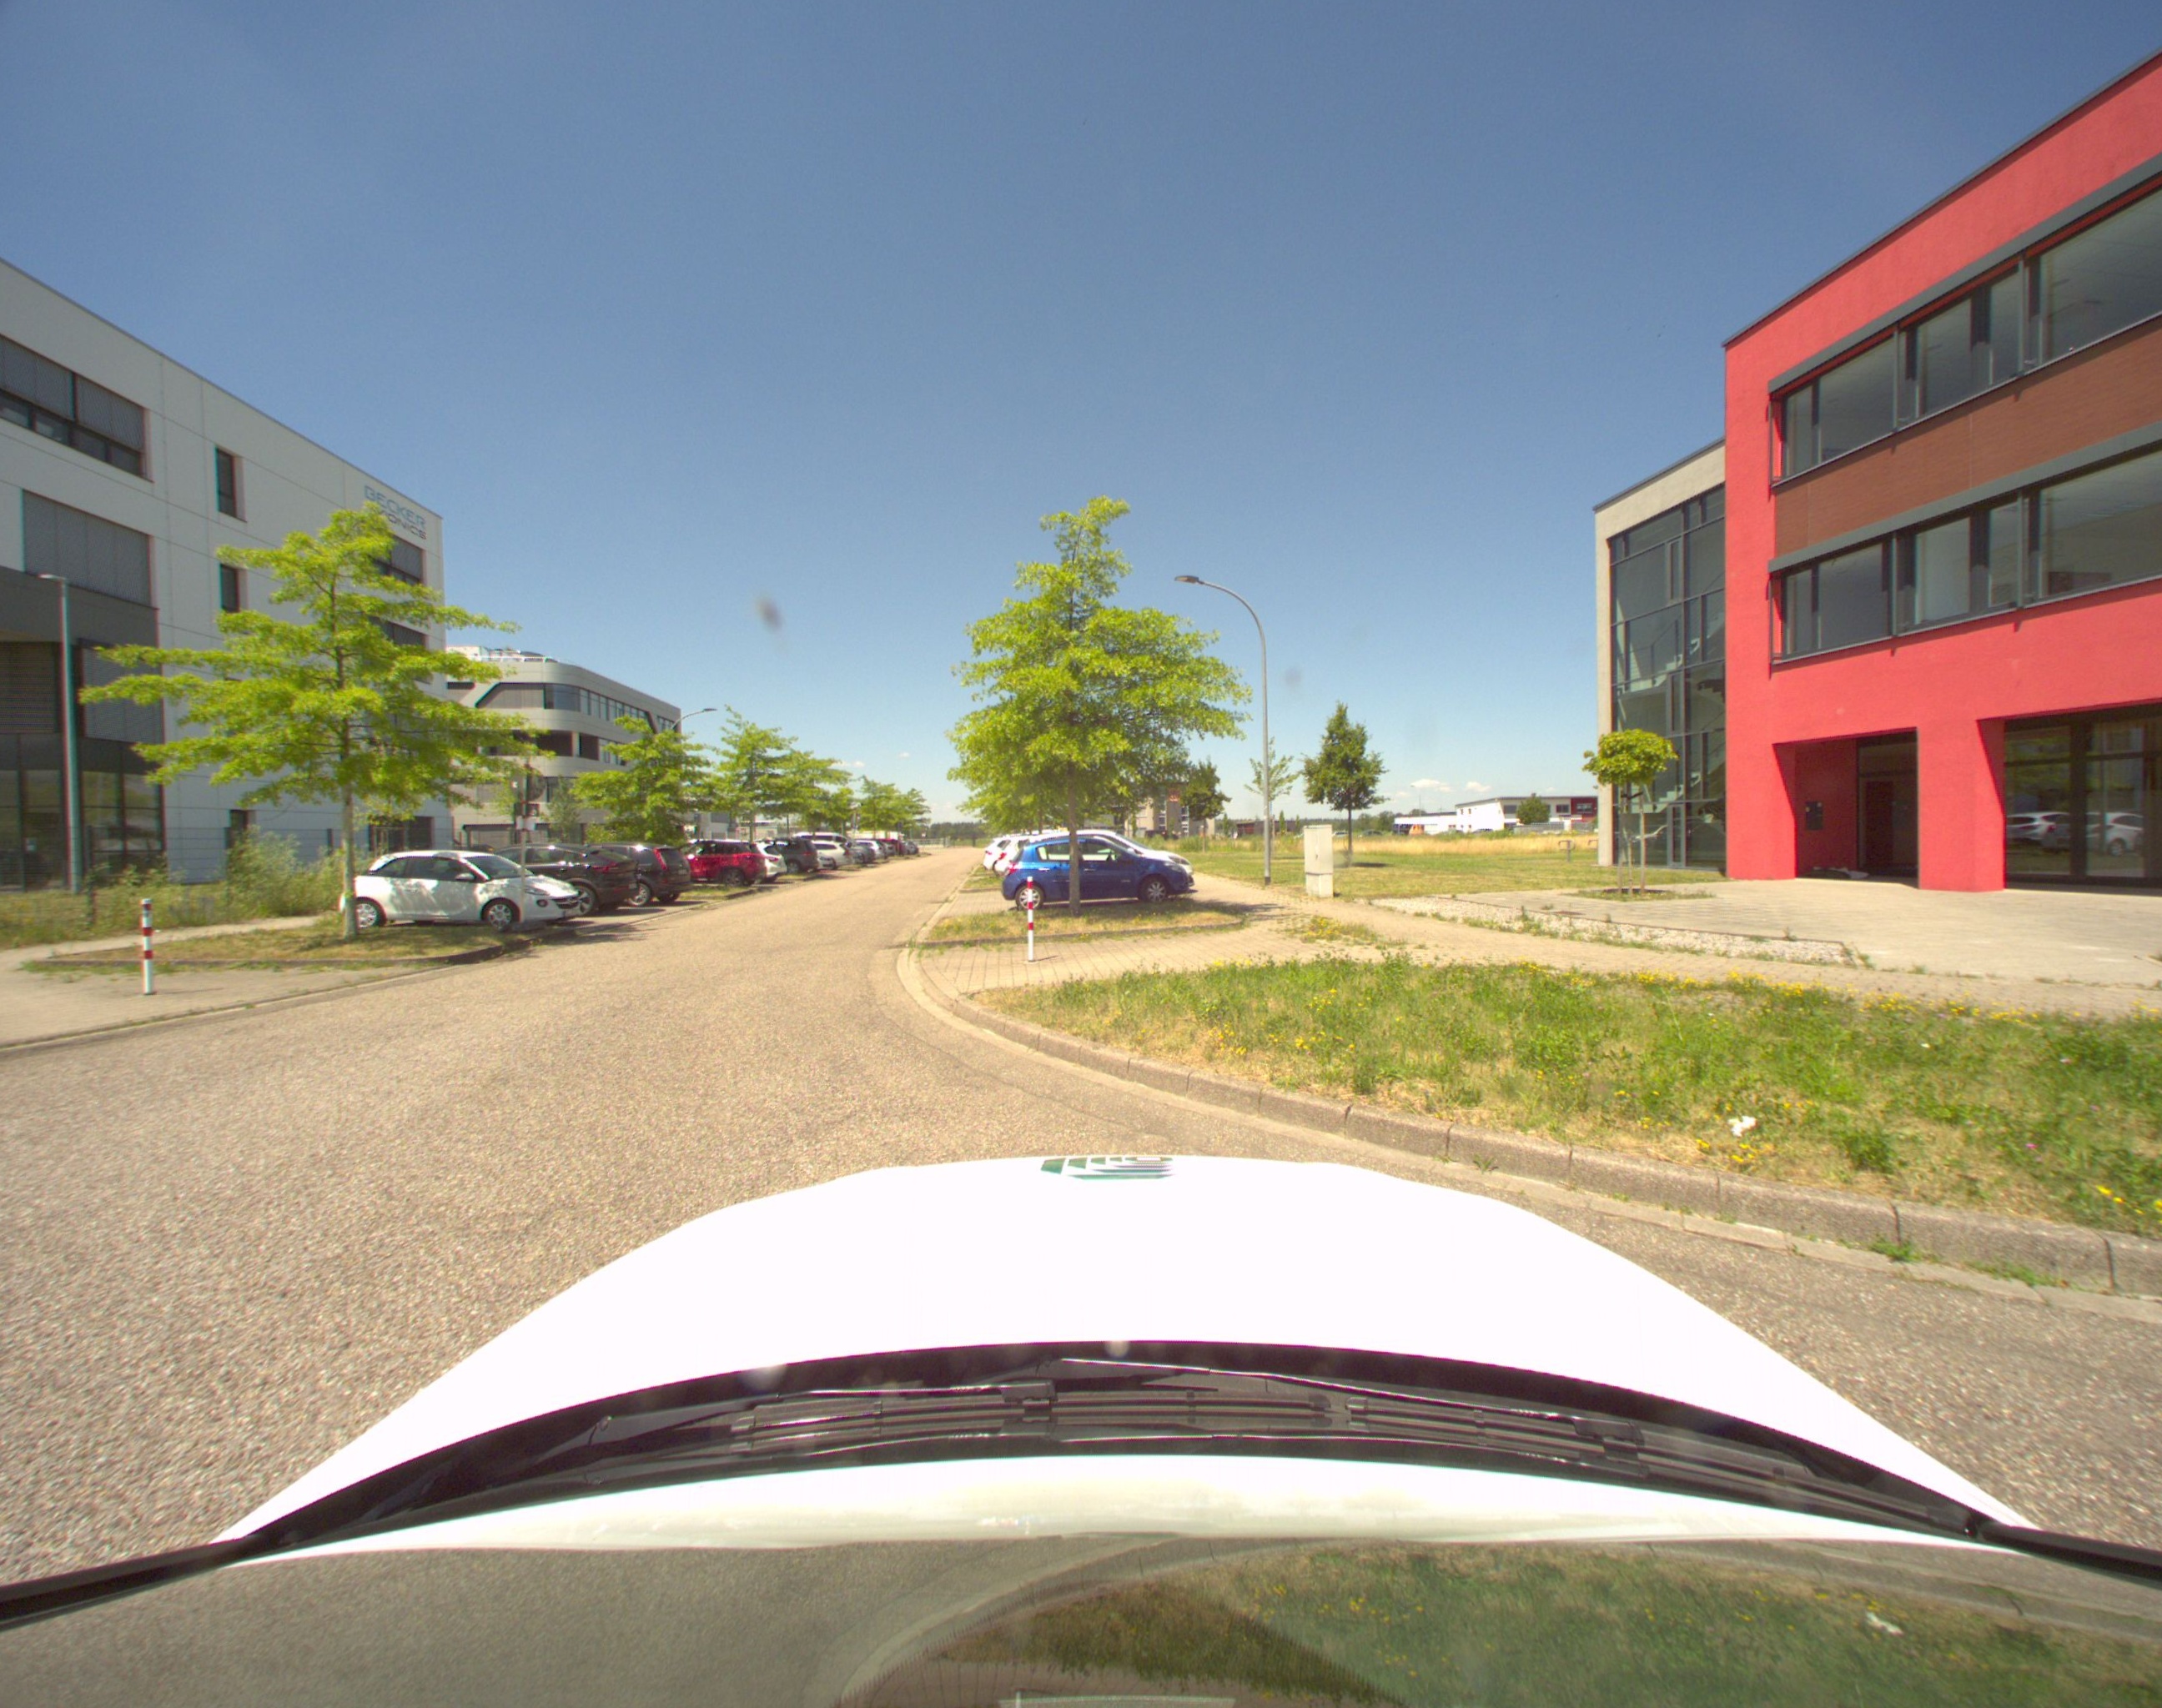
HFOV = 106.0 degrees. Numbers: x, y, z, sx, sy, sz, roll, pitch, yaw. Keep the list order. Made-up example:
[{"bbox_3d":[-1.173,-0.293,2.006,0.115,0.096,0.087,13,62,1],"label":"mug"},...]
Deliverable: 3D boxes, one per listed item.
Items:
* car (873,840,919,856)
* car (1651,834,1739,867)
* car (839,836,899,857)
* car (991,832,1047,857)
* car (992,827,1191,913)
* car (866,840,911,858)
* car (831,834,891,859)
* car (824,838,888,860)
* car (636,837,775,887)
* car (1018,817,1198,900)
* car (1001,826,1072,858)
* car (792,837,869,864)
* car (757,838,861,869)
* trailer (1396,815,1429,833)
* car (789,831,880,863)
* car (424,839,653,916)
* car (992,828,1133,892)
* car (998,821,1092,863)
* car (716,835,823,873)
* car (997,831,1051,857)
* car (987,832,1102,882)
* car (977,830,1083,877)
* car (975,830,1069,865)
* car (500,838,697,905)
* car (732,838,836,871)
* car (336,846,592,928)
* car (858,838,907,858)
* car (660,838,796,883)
[{"bbox_3d":[-17.503,-0.586,77.168,4.075,1.424,1.868,0,1,-10],"label":"car"},{"bbox_3d":[31.301,-0.199,41.557,3.319,1.509,1.716,-2,1,-6],"label":"car"},{"bbox_3d":[-15.962,-0.566,61.492,4.187,1.480,1.709,1,1,-6],"label":"car"},{"bbox_3d":[-4.829,-0.746,63.076,4.170,1.696,1.778,-3,1,-7],"label":"car"},{"bbox_3d":[0.209,0.296,17.499,3.986,1.490,1.726,-4,2,-2],"label":"car"},{"bbox_3d":[-16.621,-0.452,70.394,3.656,1.508,1.726,0,1,-10],"label":"car"},{"bbox_3d":[-15.754,-0.541,58.557,3.988,1.678,1.771,1,1,-11],"label":"car"},{"bbox_3d":[-15.548,-0.351,56.411,4.036,1.460,1.599,1,1,-9],"label":"car"},{"bbox_3d":[-12.418,0.260,27.132,3.837,1.591,1.723,0,1,-9],"label":"car"},{"bbox_3d":[0.631,0.069,19.901,4.098,1.650,1.773,-4,2,-1],"label":"car"},{"bbox_3d":[-2.845,-0.766,51.788,4.396,1.829,1.793,-3,1,-5],"label":"car"},{"bbox_3d":[-14.563,-0.205,47.483,3.963,1.484,1.760,1,1,-6],"label":"car"},{"bbox_3d":[-13.605,-0.034,40.948,4.712,1.447,1.852,0,1,-9],"label":"car"},{"bbox_3d":[49.146,-4.433,120.680,3.984,2.599,2.227,-2,1,-8],"label":"trailer"},{"bbox_3d":[-15.165,-0.436,50.368,5.061,1.891,1.994,0,1,-5],"label":"car"},{"bbox_3d":[-11.973,0.478,18.234,3.837,1.593,1.824,0,1,-10],"label":"car"},{"bbox_3d":[-0.554,0.126,22.484,3.619,1.463,1.605,-4,2,-11],"label":"car"},{"bbox_3d":[-1.627,-0.547,36.612,4.041,1.625,1.690,-3,1,-6],"label":"car"},{"bbox_3d":[-13.768,-0.007,36.207,4.113,1.634,1.723,0,1,-7],"label":"car"},{"bbox_3d":[-4.214,-0.741,60.425,3.870,1.677,1.779,-3,1,-6],"label":"car"},{"bbox_3d":[-1.301,0.085,28.294,3.830,1.524,1.776,-2,1,-6],"label":"car"},{"bbox_3d":[-1.871,-0.046,30.752,3.823,1.553,1.779,-2,2,-1],"label":"car"},{"bbox_3d":[-3.112,-0.356,42.591,4.716,1.560,1.907,-3,1,-10],"label":"car"},{"bbox_3d":[-12.093,0.422,20.657,3.902,1.591,1.724,0,1,-7],"label":"car"},{"bbox_3d":[-13.881,0.016,38.257,4.309,1.473,1.723,0,1,-9],"label":"car"},{"bbox_3d":[-11.688,0.592,15.653,3.501,1.441,1.724,0,1,-7],"label":"car"},{"bbox_3d":[-16.459,-0.537,67.784,3.732,1.621,1.813,0,1,-6],"label":"car"},{"bbox_3d":[-12.844,0.219,29.832,4.165,1.513,1.804,1,2,-5],"label":"car"}]
